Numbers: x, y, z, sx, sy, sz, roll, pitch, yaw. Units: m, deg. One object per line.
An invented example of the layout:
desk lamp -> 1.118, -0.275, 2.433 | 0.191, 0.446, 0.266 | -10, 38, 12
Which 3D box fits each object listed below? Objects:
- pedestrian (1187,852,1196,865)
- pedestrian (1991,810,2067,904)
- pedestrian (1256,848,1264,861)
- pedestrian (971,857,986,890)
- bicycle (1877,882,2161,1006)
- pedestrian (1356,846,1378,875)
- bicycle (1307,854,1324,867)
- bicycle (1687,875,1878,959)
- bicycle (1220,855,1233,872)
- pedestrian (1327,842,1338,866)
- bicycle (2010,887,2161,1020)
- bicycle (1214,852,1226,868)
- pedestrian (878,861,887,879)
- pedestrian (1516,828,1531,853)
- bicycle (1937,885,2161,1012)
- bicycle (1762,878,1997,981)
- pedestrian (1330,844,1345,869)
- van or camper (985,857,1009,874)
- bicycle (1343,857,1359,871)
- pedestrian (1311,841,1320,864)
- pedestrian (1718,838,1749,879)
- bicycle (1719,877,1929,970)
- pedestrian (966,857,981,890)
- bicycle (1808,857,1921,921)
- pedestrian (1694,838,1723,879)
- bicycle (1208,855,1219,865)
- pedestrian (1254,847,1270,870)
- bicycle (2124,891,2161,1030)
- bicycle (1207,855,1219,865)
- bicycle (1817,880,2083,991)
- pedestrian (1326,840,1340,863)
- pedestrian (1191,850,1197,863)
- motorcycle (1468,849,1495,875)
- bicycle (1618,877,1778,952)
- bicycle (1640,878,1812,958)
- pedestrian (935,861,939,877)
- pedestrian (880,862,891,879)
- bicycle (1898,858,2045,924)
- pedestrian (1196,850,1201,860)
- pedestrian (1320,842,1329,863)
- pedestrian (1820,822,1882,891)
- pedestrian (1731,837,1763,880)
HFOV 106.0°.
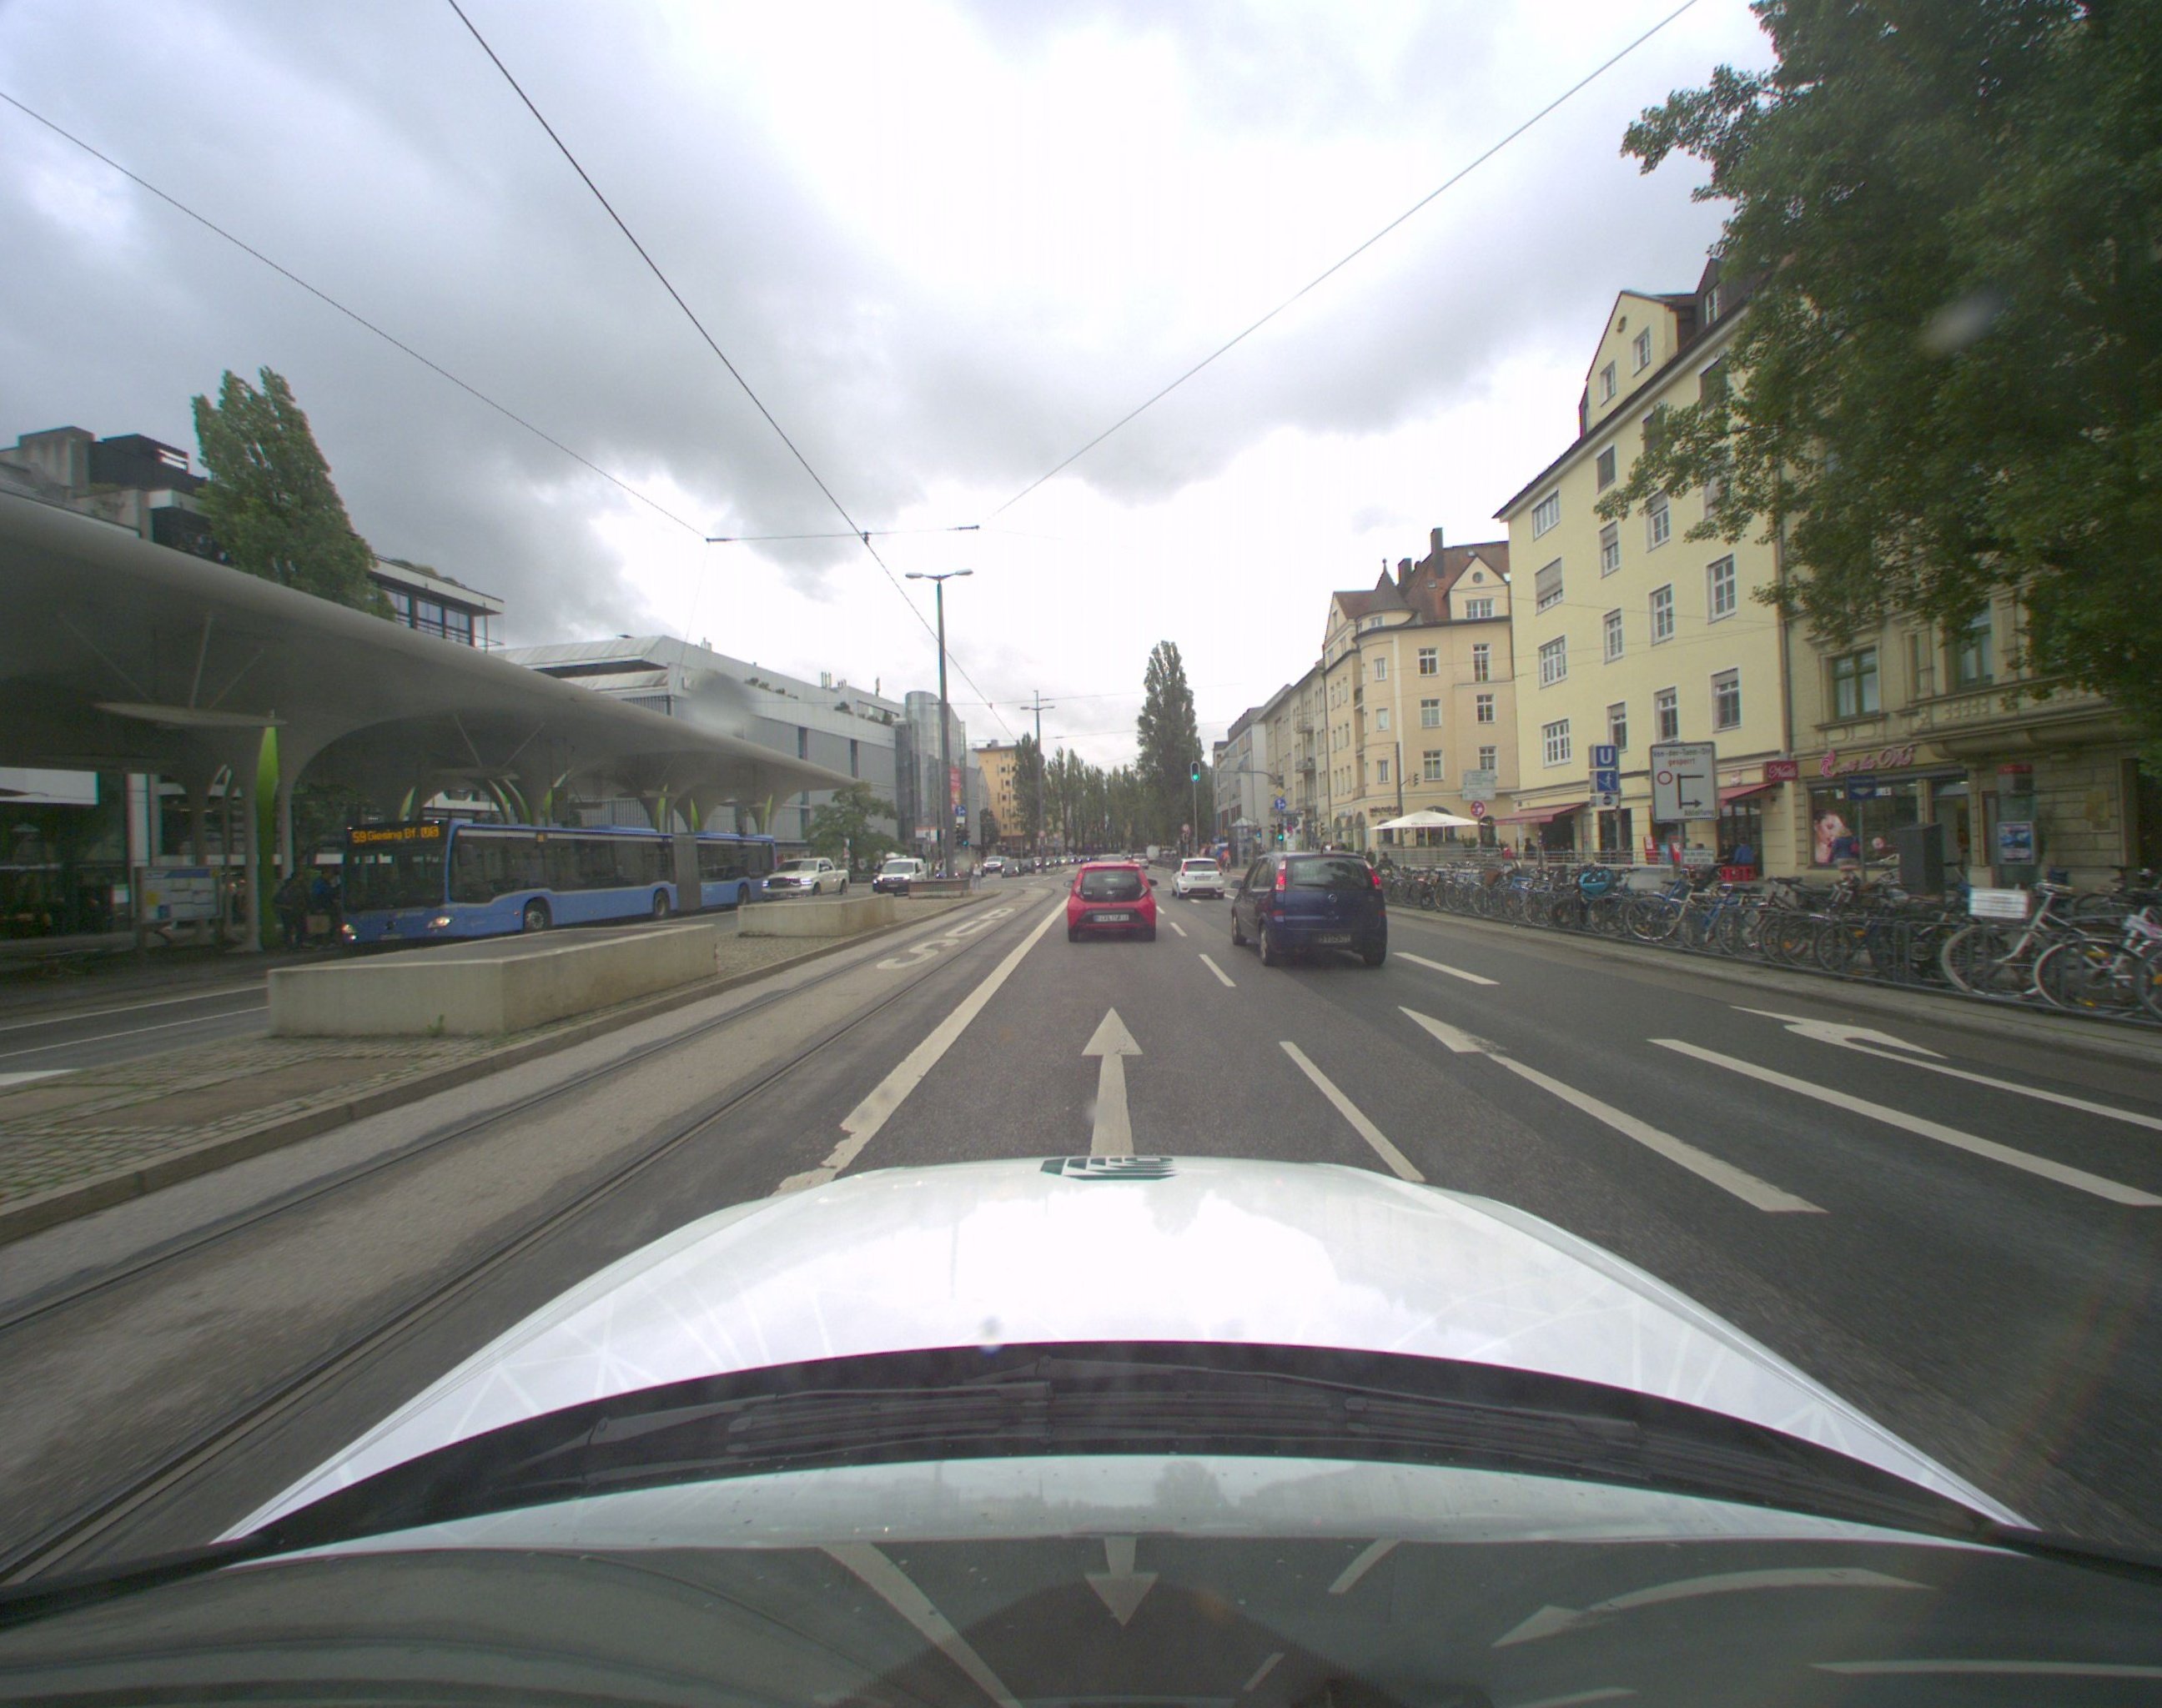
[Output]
pedestrian -> 12.950, 0.542, 95.607 | 0.790, 1.522, 0.816 | -2, -1, 33
pedestrian -> 17.955, 0.056, 15.441 | 0.598, 1.739, 0.666 | -2, 0, 2
pedestrian -> 22.203, 0.040, 100.910 | 0.730, 1.602, 0.742 | -2, 0, 2
pedestrian -> -5.094, 0.979, 40.534 | 0.466, 1.618, 0.515 | -2, -1, -44
bicycle -> 8.714, 0.789, 7.602 | 0.377, 0.995, 1.819 | -2, 1, -44
pedestrian -> 15.654, 0.337, 44.558 | 0.730, 1.540, 0.887 | -2, 0, -13
bicycle -> 18.660, 0.511, 64.858 | 0.495, 1.059, 1.858 | -2, 0, -13
bicycle -> 8.965, 0.784, 10.476 | 1.819, 0.995, 0.377 | -1, 1, 26
bicycle -> 10.970, 0.692, 61.415 | 0.611, 1.265, 2.521 | -2, 0, 3
pedestrian -> 18.854, 0.031, 61.019 | 0.642, 1.751, 0.640 | -2, 3, 24
bicycle -> 8.637, 0.787, 6.339 | 1.819, 0.995, 0.377 | 0, 1, 44
bicycle -> 11.417, 0.500, 66.984 | 0.611, 1.265, 2.521 | -2, 0, 3
pedestrian -> -19.827, 1.613, 81.221 | 0.752, 1.773, 0.767 | -2, 0, -21
pedestrian -> 31.067, -0.930, 57.215 | 0.676, 1.705, 0.749 | -2, 3, 11
bicycle -> 8.686, 0.788, 6.979 | 1.818, 0.995, 0.378 | 0, 1, 40
bicycle -> 8.696, 0.789, 8.978 | 1.818, 0.995, 0.378 | 0, 1, 39
pedestrian -> 18.502, 0.181, 58.821 | 0.927, 1.755, 1.069 | -2, 0, 15
van or camper -> -9.509, 1.237, 92.504 | 1.921, 1.826, 5.443 | -2, 0, 2
bicycle -> 21.676, 0.757, 65.386 | 0.493, 1.089, 1.864 | -2, 0, -3
pedestrian -> 17.880, -0.104, 62.061 | 0.560, 1.670, 0.565 | -2, 3, 24
pedestrian -> 21.043, 0.141, 26.265 | 0.493, 1.289, 0.552 | -2, 0, 2
bicycle -> 8.781, 0.789, 9.724 | 1.818, 0.995, 0.378 | 0, 1, 39
pedestrian -> -5.402, 0.982, 40.793 | 0.489, 1.618, 0.552 | -2, -1, -33
bicycle -> 13.706, 0.608, 14.248 | 1.719, 1.045, 0.387 | -2, 1, -5
pedestrian -> 20.195, 0.142, 26.212 | 0.493, 1.289, 0.552 | -2, 0, 2
bicycle -> 13.951, 0.656, 85.737 | 1.175, 0.963, 0.370 | -3, 0, 6
pedestrian -> 13.534, 0.364, 60.984 | 0.826, 1.691, 0.825 | -3, 0, 39
bicycle -> 8.609, 0.788, 5.549 | 0.377, 0.995, 1.820 | -2, 1, -43
bicycle -> 13.968, 0.637, 86.281 | 1.177, 0.963, 0.369 | -3, 0, 0
bicycle -> 8.782, 0.789, 8.338 | 1.818, 0.995, 0.378 | 0, 1, 39
pedestrian -> 19.120, -0.200, 61.852 | 0.648, 1.705, 0.727 | -4, 3, -27
pedestrian -> 15.696, 0.390, 113.210 | 0.787, 1.727, 0.764 | -2, 0, 2
motorcycle -> 18.384, 0.354, 37.391 | 0.484, 1.156, 1.572 | -2, 0, 3
bicycle -> 8.899, 0.848, 11.826 | 1.818, 0.995, 0.327 | -1, 1, 34
bicycle -> 8.809, 0.849, 11.197 | 1.818, 0.995, 0.327 | 0, 1, 39
pedestrian -> -15.734, 1.637, 88.817 | 0.354, 1.759, 0.446 | -2, 0, -7
pedestrian -> -19.277, 1.609, 80.230 | 0.765, 1.654, 0.754 | -2, 0, 13
bicycle -> 14.587, 0.606, 13.367 | 1.710, 1.045, 0.389 | -1, 1, 12
pedestrian -> 19.697, 0.151, 136.927 | 0.710, 1.558, 0.676 | -2, 0, 2
pedestrian -> 18.582, -0.110, 62.183 | 0.556, 1.609, 0.570 | -2, 3, 15
pedestrian -> 18.824, 0.051, 19.923 | 0.707, 1.632, 0.787 | -2, 0, 2
pedestrian -> 20.770, 0.142, 25.404 | 0.493, 1.332, 0.552 | -2, 0, 2
